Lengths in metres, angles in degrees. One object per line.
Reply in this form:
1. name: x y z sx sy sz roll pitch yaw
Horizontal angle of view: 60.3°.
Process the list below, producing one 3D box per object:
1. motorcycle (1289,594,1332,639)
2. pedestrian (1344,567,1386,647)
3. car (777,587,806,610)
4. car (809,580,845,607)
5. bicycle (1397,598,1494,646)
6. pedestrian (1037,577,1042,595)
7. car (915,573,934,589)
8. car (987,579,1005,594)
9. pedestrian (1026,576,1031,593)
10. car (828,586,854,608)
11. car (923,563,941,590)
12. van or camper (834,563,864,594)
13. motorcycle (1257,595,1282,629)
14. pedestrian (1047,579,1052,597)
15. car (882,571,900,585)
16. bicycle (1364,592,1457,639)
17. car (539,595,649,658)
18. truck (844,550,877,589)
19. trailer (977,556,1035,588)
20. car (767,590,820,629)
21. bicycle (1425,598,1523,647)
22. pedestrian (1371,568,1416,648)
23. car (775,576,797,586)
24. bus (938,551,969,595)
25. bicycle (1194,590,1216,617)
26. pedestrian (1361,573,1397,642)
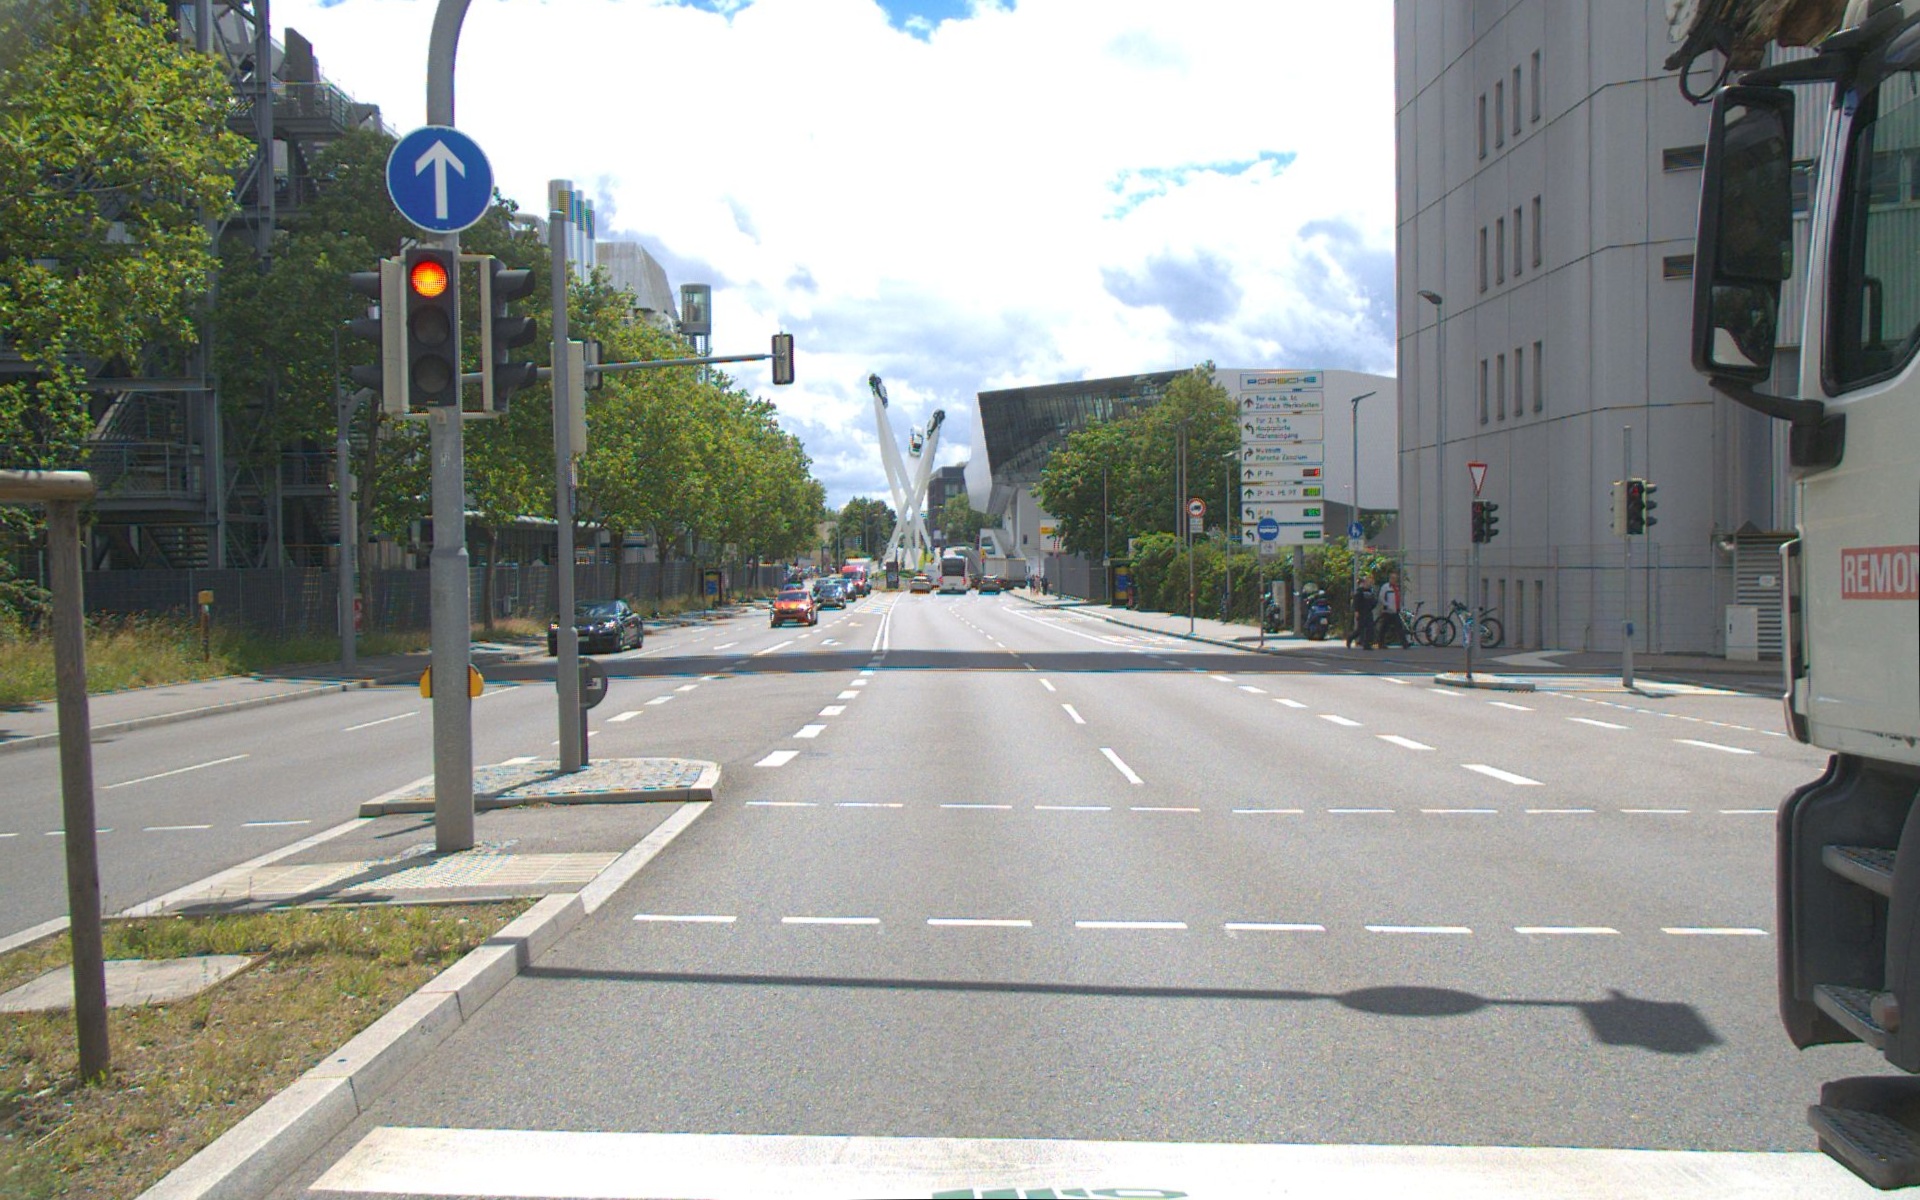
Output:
1. motorcycle: 9.553 0.446 45.152 0.410 1.186 1.951 1 0 -11
2. pedestrian: 9.492 0.158 38.778 0.631 1.825 0.709 -3 1 -16
3. car: -11.682 -0.123 114.895 1.761 1.601 3.998 0 0 -2
4. car: -7.746 -0.397 96.775 1.733 1.445 3.701 -2 0 0
5. bicycle: 11.642 0.523 39.698 2.180 1.105 0.475 1 -1 35
6. pedestrian: 6.572 -1.161 136.521 0.378 1.446 0.423 1 -1 0
7. car: -3.151 -1.710 148.659 1.525 1.295 3.701 -2 0 1
8. car: 3.142 -1.206 146.460 1.525 1.295 3.701 -2 0 1
9. pedestrian: 5.739 -1.290 137.882 0.378 1.446 0.423 1 -1 0
10. car: -8.475 -0.231 118.230 1.525 1.473 3.772 -2 0 0
11. car: -2.926 -2.425 171.124 1.806 2.669 3.999 1 0 -2
12. van or camper: -8.972 -1.723 134.046 2.005 2.509 5.594 0 0 0
13. motorcycle: 9.746 0.364 52.139 0.448 1.040 1.913 1 0 1
14. pedestrian: 7.384 -0.985 136.692 0.378 1.446 0.423 1 -1 0
15. car: -6.508 -2.057 155.653 1.525 1.295 3.701 -2 0 0
16. bicycle: 11.157 0.380 41.023 2.180 1.105 0.475 1 -1 35
17. car: -9.912 0.670 45.143 1.878 1.514 4.772 -2 0 0
18. truck: -8.985 -2.713 149.928 2.538 3.382 7.078 1 0 0
19. trailer: 4.882 -2.900 172.247 3.250 3.047 10.380 1 0 18
20. car: -6.672 0.359 66.569 1.733 1.445 3.701 -2 0 0
21. bicycle: 12.023 0.525 38.710 2.149 1.105 0.475 1 -1 35
22. pedestrian: 10.217 0.189 38.989 0.680 1.825 0.709 -3 1 -16
23. car: -23.308 -2.586 221.679 1.524 1.295 3.704 -2 1 16
24. bus: -0.579 -2.402 149.417 2.730 3.750 6.942 1 0 0
25. bicycle: 9.677 0.148 65.399 0.410 1.040 1.910 1 0 -5
26. pedestrian: 10.223 0.191 40.376 0.527 1.669 0.652 1 -1 -29
